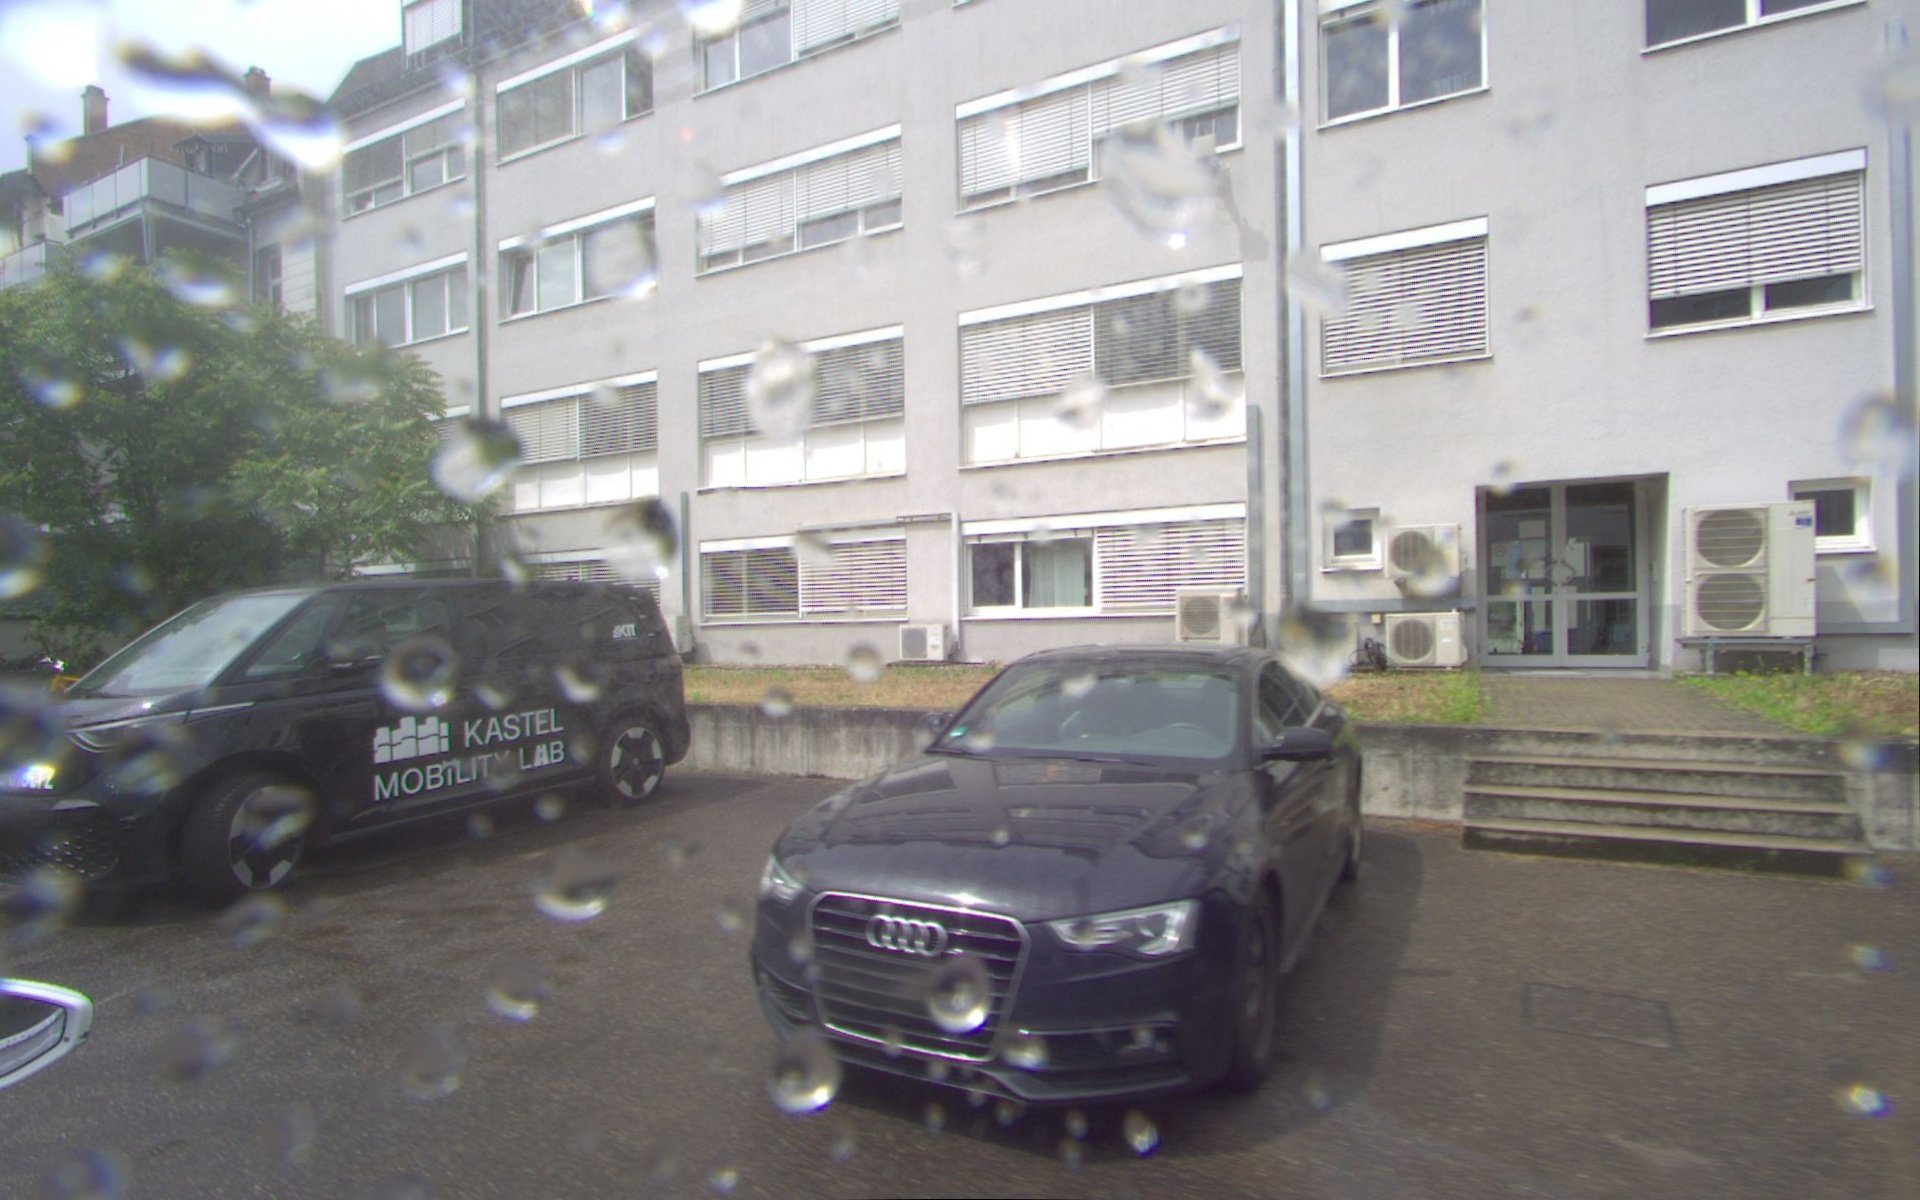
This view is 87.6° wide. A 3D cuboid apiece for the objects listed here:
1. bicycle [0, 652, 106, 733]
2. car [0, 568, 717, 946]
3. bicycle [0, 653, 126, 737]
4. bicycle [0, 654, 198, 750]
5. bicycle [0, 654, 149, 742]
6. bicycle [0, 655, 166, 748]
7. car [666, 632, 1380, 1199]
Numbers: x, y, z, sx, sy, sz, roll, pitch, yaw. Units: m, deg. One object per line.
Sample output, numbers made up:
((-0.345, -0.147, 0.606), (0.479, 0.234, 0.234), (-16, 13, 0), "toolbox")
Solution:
((-13.574, 1.267, 13.668), (0.679, 1.092, 2.840), (0, -2, 31), "bicycle")
((-4.219, 0.790, 7.502), (2.078, 1.857, 4.706), (-1, 0, 27), "car")
((-12.982, 1.263, 13.300), (0.679, 1.092, 2.840), (0, -2, 31), "bicycle")
((-11.120, 1.211, 12.154), (0.679, 1.092, 2.920), (0, -2, 31), "bicycle")
((-12.369, 1.260, 12.953), (0.679, 1.092, 2.840), (0, -2, 31), "bicycle")
((-11.790, 1.254, 12.532), (0.679, 1.092, 2.840), (0, -2, 31), "bicycle")
((0.841, 0.881, 4.790), (1.831, 1.366, 4.351), (-1, -1, 27), "car")
